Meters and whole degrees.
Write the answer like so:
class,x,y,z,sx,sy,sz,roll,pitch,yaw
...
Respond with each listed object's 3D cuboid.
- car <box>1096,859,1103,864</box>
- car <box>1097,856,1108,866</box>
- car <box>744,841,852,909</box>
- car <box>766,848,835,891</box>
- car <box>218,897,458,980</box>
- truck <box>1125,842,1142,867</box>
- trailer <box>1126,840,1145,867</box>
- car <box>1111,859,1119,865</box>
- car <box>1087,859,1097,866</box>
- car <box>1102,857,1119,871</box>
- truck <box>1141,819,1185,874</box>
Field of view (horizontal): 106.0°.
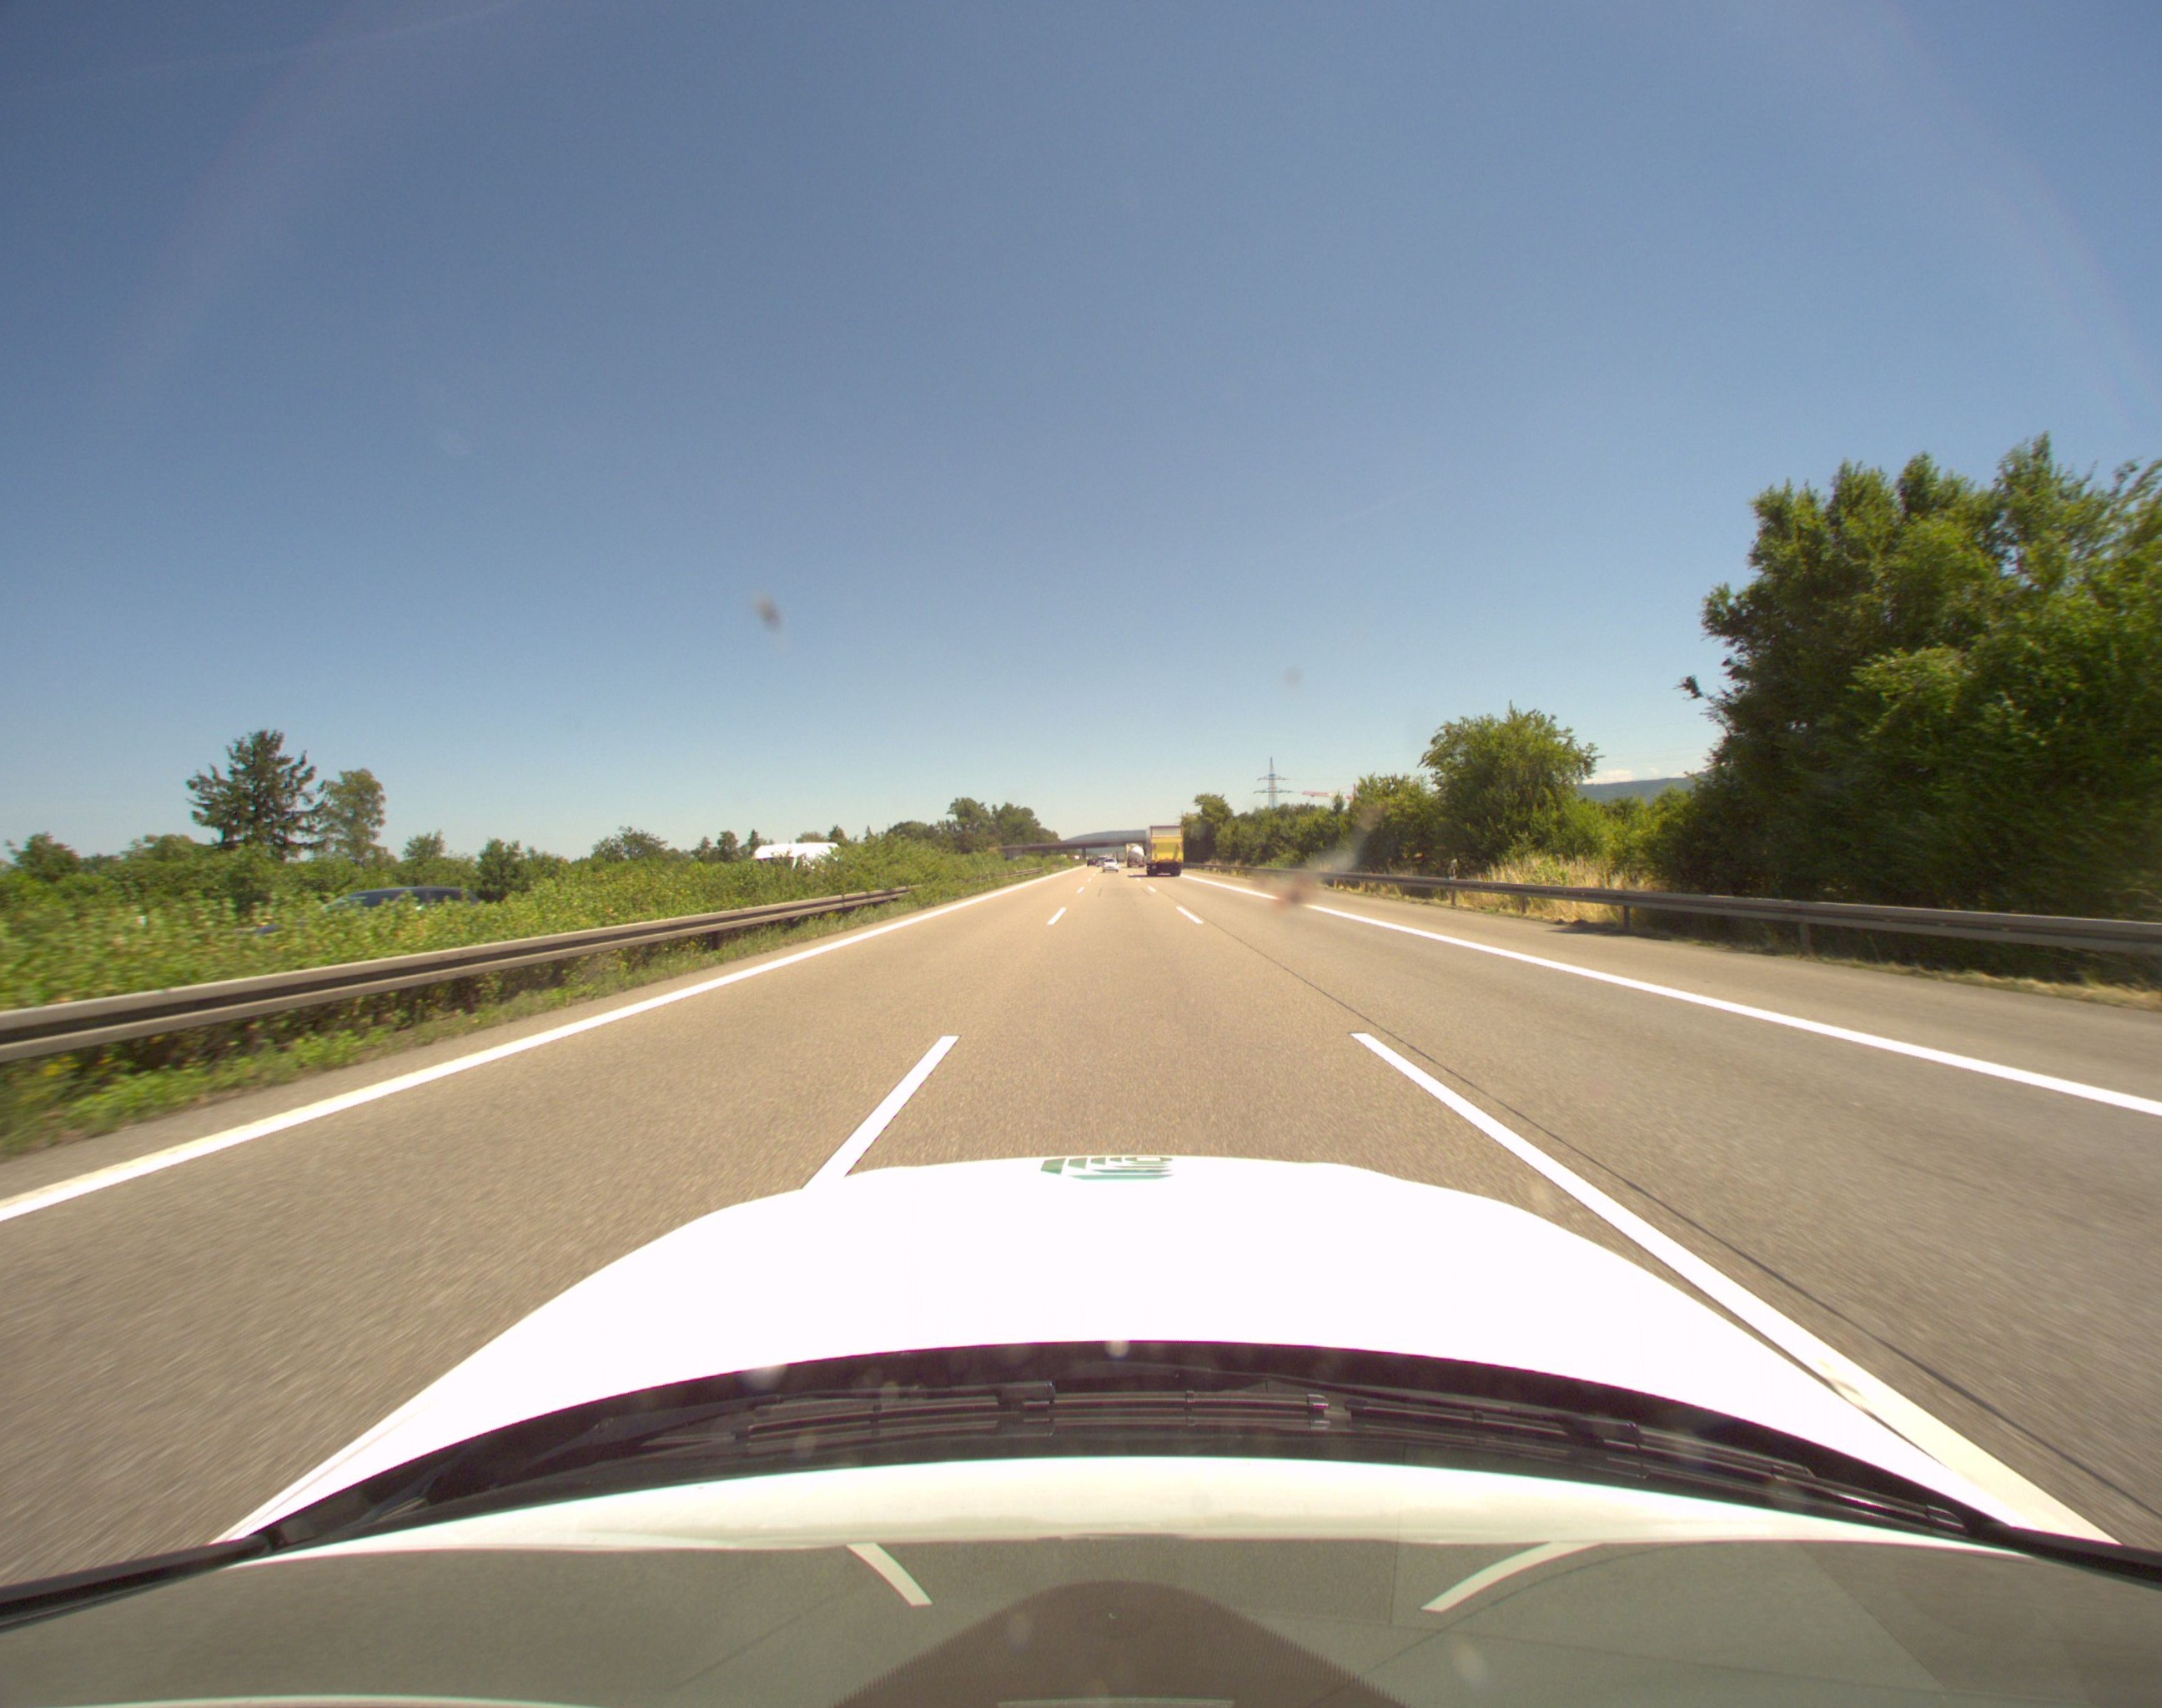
class,x,y,z,sx,sy,sz,roll,pitch,yaw
car,5.280,2.033,228.489,1.828,1.386,4.002,0,0,2
car,3.745,1.224,140.478,1.844,1.633,4.002,0,0,2
car,-11.408,0.778,33.472,1.799,2.500,6.781,0,0,2
car,-18.352,0.967,53.554,2.461,2.708,5.521,0,0,2
car,-14.824,1.633,16.518,1.657,1.345,3.392,0,0,2
truck,8.661,0.055,133.867,2.563,4.072,6.394,0,0,1
trailer,8.537,0.019,129.037,2.570,4.074,11.106,0,0,2
car,7.680,1.834,182.900,1.828,1.386,4.002,0,0,2
car,2.163,1.620,159.324,1.828,1.386,4.002,0,0,2
car,3.240,1.107,88.434,1.799,1.468,4.002,0,0,2
truck,6.723,-0.527,67.968,2.922,4.200,10.685,0,0,2
